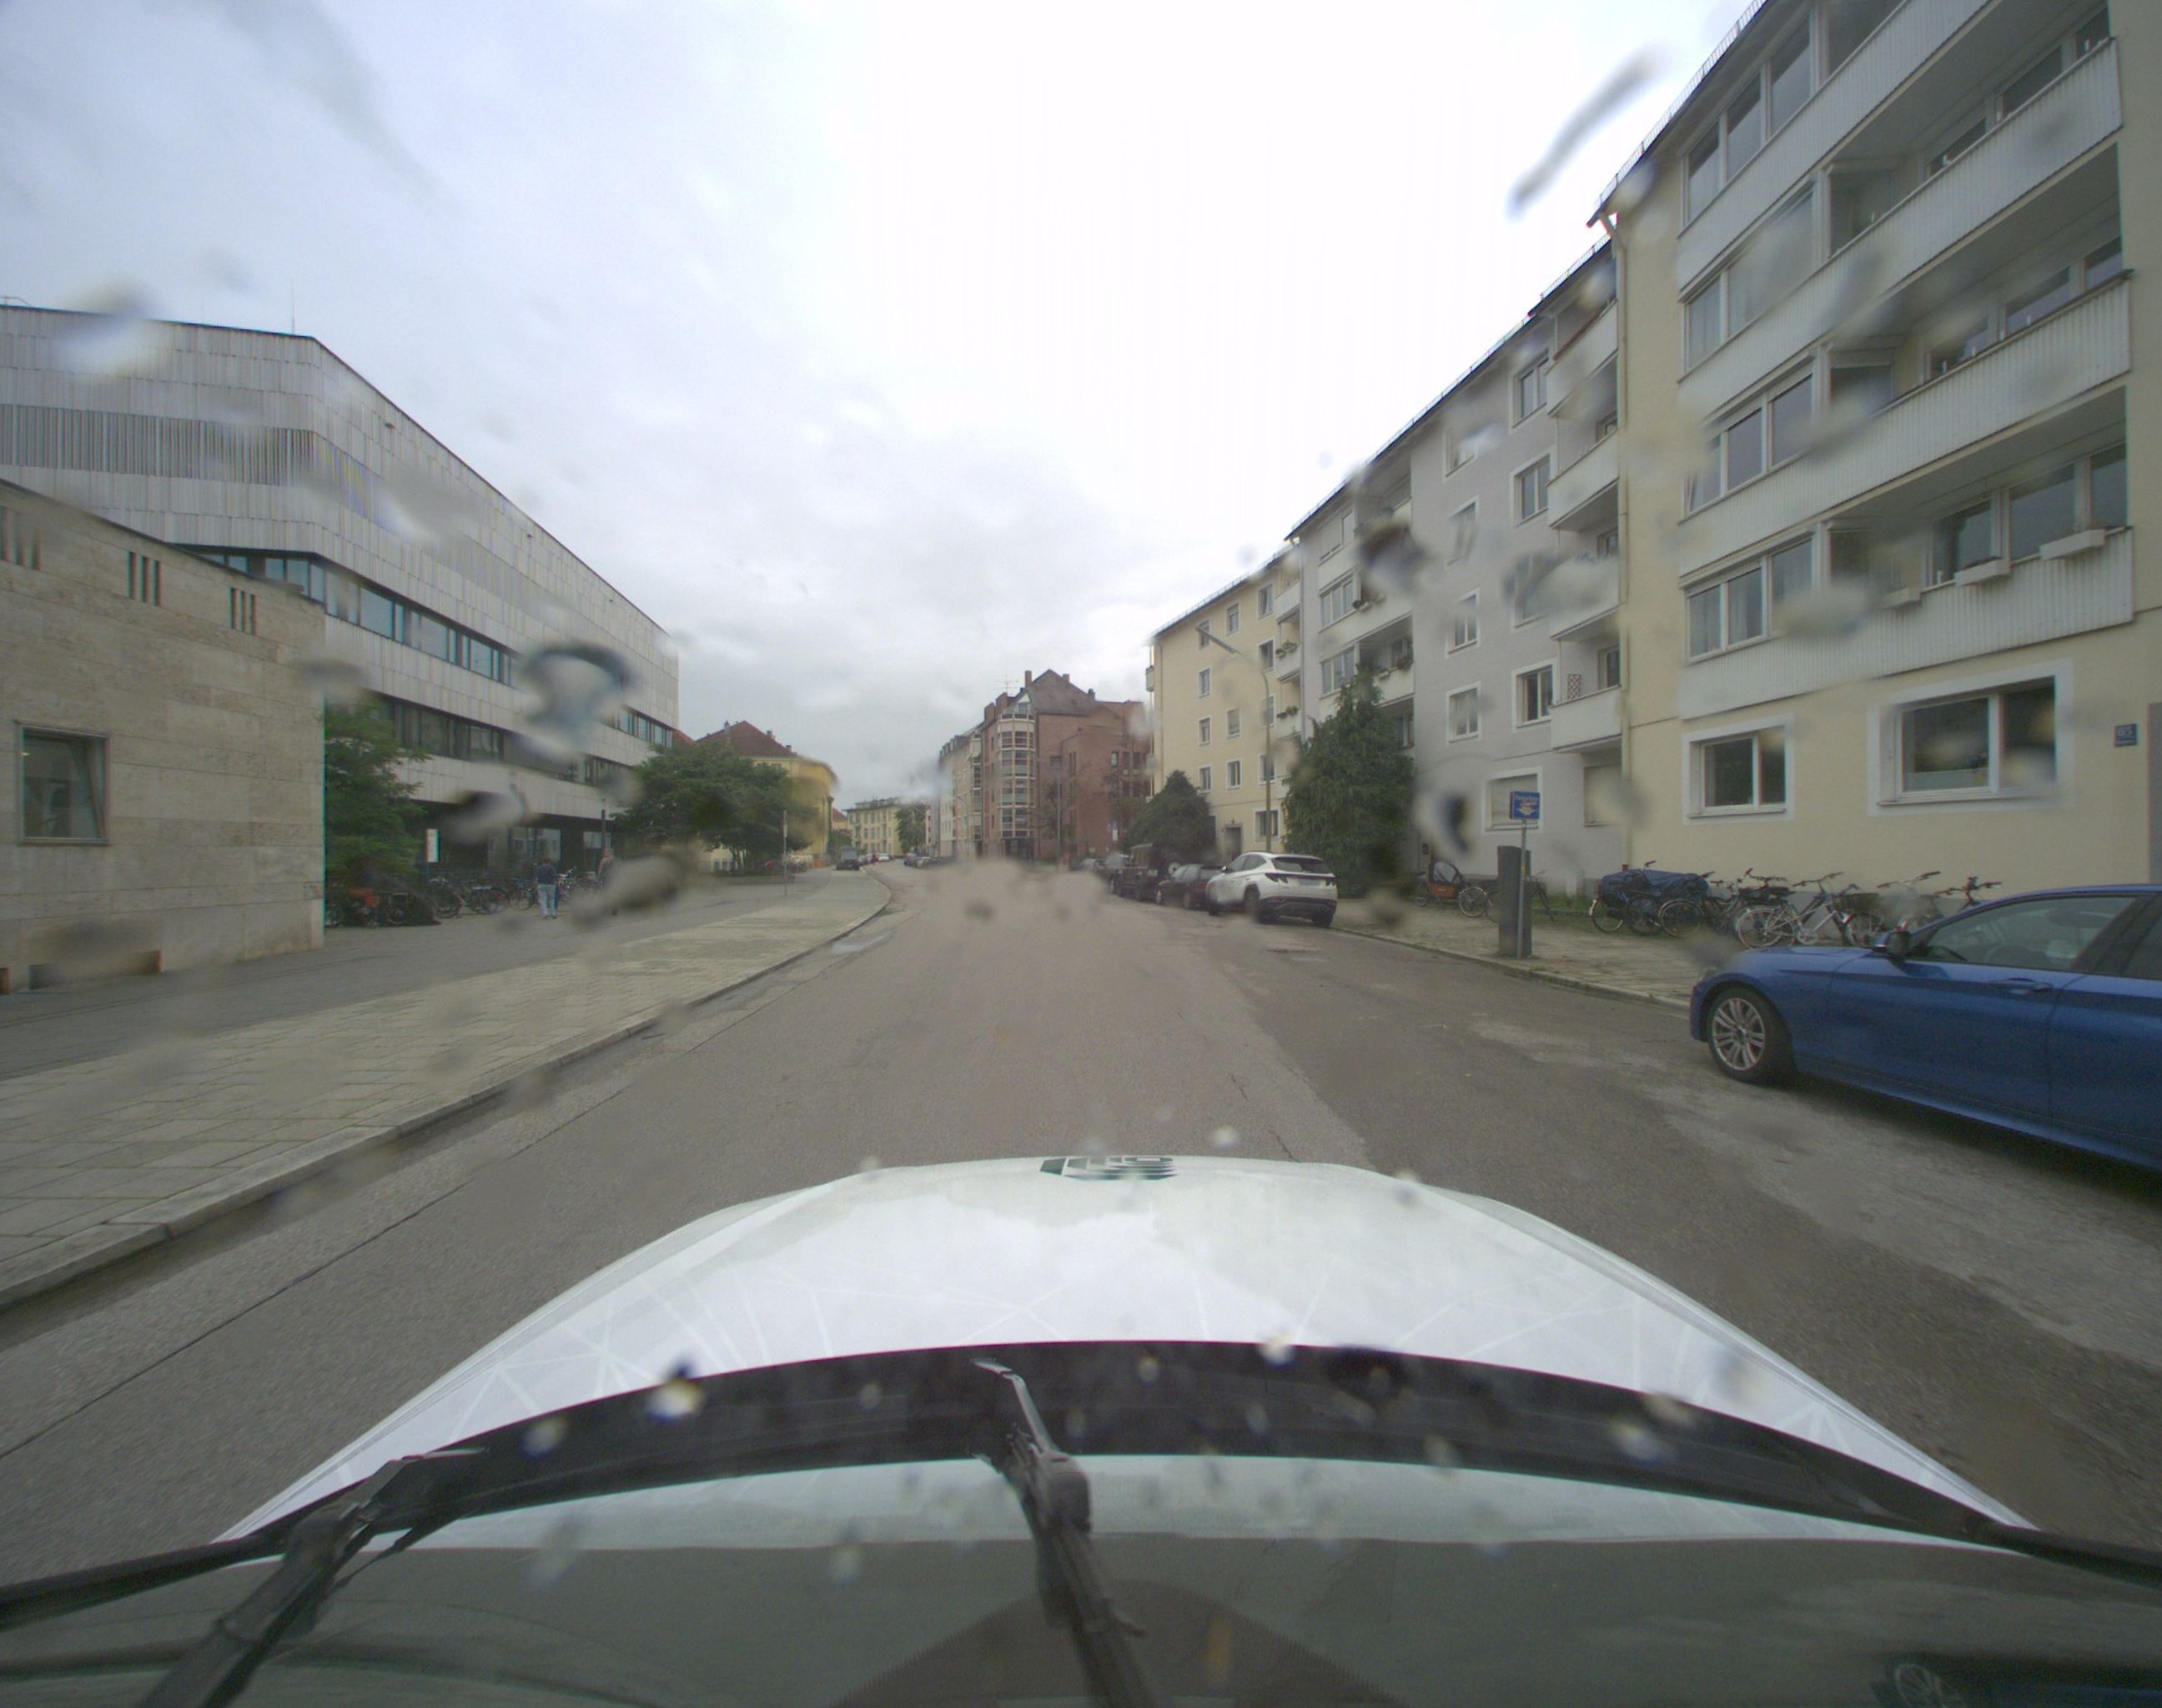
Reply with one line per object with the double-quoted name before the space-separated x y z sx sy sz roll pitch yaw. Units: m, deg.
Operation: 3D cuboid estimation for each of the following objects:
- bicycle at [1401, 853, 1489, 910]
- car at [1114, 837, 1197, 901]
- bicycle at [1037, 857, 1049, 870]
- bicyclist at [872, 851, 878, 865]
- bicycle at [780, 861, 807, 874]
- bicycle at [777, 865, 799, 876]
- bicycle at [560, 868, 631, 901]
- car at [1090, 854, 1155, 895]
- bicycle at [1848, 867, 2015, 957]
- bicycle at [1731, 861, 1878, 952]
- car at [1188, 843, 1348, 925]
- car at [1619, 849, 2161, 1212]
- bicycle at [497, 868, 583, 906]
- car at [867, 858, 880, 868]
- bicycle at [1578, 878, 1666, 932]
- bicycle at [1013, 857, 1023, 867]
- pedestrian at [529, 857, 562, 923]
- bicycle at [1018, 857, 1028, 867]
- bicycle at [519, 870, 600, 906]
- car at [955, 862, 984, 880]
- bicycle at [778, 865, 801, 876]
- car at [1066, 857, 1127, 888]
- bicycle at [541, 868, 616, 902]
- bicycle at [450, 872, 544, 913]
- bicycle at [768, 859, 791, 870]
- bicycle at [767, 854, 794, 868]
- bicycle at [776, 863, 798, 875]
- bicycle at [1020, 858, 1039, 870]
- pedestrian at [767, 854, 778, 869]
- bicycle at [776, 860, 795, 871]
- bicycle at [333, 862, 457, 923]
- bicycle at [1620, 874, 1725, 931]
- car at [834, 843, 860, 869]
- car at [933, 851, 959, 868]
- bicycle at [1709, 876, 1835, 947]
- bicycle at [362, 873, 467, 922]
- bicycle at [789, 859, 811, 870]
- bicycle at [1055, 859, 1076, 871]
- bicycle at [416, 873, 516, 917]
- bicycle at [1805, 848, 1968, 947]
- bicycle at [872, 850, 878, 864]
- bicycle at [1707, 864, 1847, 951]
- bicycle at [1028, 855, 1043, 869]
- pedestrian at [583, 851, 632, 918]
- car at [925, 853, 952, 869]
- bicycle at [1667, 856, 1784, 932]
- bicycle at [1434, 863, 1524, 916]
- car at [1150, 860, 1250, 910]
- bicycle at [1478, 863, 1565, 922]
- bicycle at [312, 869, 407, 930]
"bicycle" 9.631 0.695 21.689 0.743 1.367 2.460 -4 1 -13
"car" 2.544 0.478 29.030 1.748 2.081 4.499 1 0 -11
"bicycle" -3.455 0.852 74.084 0.416 1.173 1.369 1 0 27
"bicyclist" -30.765 0.613 121.566 0.767 2.013 0.765 -4 1 -12
"bicycle" -27.018 1.262 76.609 2.308 1.135 0.580 1 0 -8
"bicycle" -26.039 1.447 72.357 1.673 0.916 0.594 1 0 -8
"bicycle" -17.283 1.078 29.042 2.048 1.111 0.614 1 0 -15
"car" 1.615 0.816 33.609 1.659 1.566 4.498 1 -1 -11
"bicycle" 10.491 0.704 10.062 1.694 1.035 0.368 -1 0 -1
"bicycle" 10.272 0.732 11.584 1.694 1.221 0.432 -1 0 -1
"car" 4.253 0.614 19.405 2.027 1.678 4.596 1 1 -11
"car" 5.233 0.724 4.148 1.825 1.442 4.626 1 1 -2
"bicycle" -16.347 0.992 24.650 2.051 1.111 0.613 1 0 -19
"car" -36.738 1.631 144.113 2.030 1.621 4.480 -2 -1 -16
"bicycle" 10.100 0.940 15.219 1.469 0.857 0.443 -4 1 -12
"bicycle" -6.392 0.827 82.803 0.487 1.060 1.982 1 -1 -20
"pedestrian" -13.396 0.878 20.372 0.647 1.601 0.599 1 0 -36
"bicycle" -5.916 0.810 82.988 0.487 1.060 1.983 1 0 -19
"bicycle" -16.728 1.088 26.162 2.048 1.111 0.614 1 0 -15
"car" -10.188 1.547 74.309 1.930 1.512 4.366 1 0 -17
"bicycle" -26.900 1.519 75.216 1.865 1.029 0.538 1 0 -8
"car" 0.691 0.865 38.759 1.758 1.396 4.021 1 -1 -17
"bicycle" -17.058 1.056 27.661 2.048 1.111 0.614 1 0 -15
"bicycle" -16.585 1.084 23.175 2.051 1.111 0.613 1 0 -19
"bicycle" -25.140 0.851 67.942 1.719 0.862 0.437 1 0 -11
"bicycle" -26.074 0.610 70.672 2.103 1.227 0.785 1 0 -8
"bicycle" -26.751 1.349 74.090 1.789 1.033 0.506 1 0 -8
"bicycle" -5.110 0.964 81.394 1.849 1.147 0.486 1 0 -12
"pedestrian" -26.012 0.633 68.712 0.718 1.163 1.036 1 0 -12
"bicycle" -25.104 0.958 69.203 1.372 0.862 0.437 1 0 -11
"bicycle" -15.709 0.883 18.696 2.099 1.352 0.611 1 0 -13
"bicycle" 10.579 0.853 14.570 1.699 0.942 0.431 -1 0 -10
"car" -26.021 0.280 90.361 2.429 2.715 5.915 -2 0 -19
"car" -13.950 0.587 84.248 1.837 1.602 4.236 1 1 -21
"bicycle" 10.688 0.885 12.612 1.495 0.990 0.481 -3 0 1
"bicycle" -16.443 1.066 20.124 2.039 1.111 0.616 1 0 -1
"bicycle" -27.868 1.050 80.861 1.903 1.092 0.676 1 0 -8
"bicycle" -1.283 0.927 68.004 1.704 0.965 0.543 1 0 -17
"bicycle" -16.324 1.078 21.645 2.044 1.111 0.615 1 0 -8
"bicycle" 10.491 0.555 10.627 1.694 1.221 0.432 -1 0 -1
"bicycle" -30.734 0.502 121.582 0.748 2.013 2.837 -3 1 -11
"bicycle" 10.283 0.783 12.058 1.694 1.221 0.432 -1 0 -1
"bicycle" -4.201 0.735 75.038 0.536 1.248 2.394 1 -2 -23
"pedestrian" -12.695 0.811 21.843 0.791 1.739 0.820 1 0 -1
"car" -15.575 0.721 88.884 1.971 1.602 4.639 1 1 -21
"bicycle" 11.038 0.676 13.954 1.696 1.221 0.432 -1 0 -3
"bicycle" 9.251 0.805 19.000 0.580 1.158 1.813 -3 0 -33
"car" 3.458 0.889 24.338 1.661 1.349 3.786 1 -1 -14
"bicycle" 9.598 0.813 17.729 1.833 1.158 0.574 -3 0 -21
"bicycle" -15.407 0.979 17.411 1.451 1.259 0.461 1 0 -13
